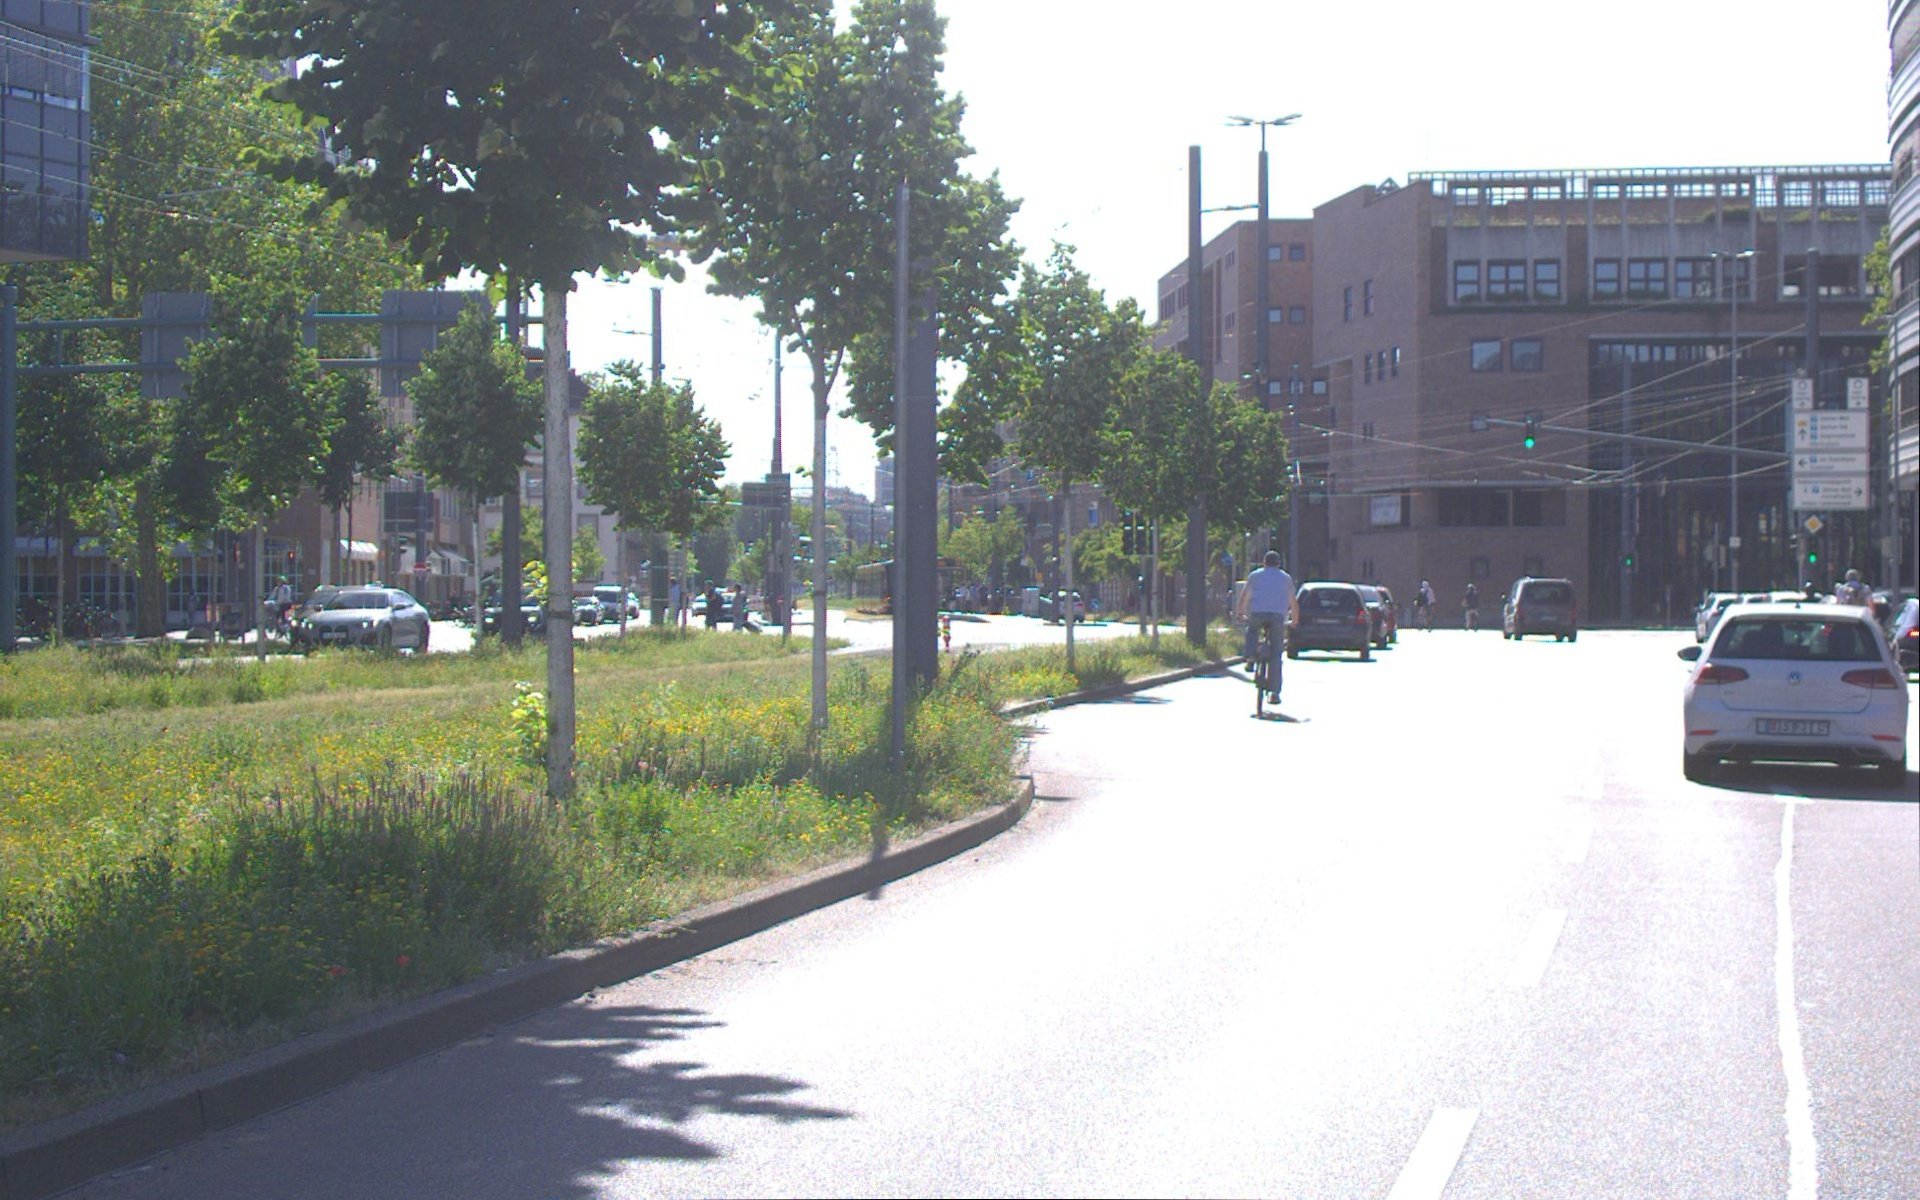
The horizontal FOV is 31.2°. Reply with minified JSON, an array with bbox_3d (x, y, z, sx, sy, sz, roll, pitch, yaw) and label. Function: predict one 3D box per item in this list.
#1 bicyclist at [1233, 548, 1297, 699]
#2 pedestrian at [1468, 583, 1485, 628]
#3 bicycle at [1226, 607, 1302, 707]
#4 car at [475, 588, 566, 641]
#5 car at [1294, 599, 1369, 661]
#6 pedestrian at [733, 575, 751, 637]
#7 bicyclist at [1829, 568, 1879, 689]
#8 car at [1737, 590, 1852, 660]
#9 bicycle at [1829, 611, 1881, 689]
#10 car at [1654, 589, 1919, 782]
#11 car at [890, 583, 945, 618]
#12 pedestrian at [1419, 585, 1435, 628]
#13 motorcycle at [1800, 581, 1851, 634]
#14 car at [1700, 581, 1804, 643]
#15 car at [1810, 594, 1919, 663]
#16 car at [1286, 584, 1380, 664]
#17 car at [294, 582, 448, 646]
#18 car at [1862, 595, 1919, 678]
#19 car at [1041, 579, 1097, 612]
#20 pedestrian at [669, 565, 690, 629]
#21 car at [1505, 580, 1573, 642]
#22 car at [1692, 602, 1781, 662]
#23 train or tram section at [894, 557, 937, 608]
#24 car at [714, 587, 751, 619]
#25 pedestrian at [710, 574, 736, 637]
[{"bbox_3d":[3.468,0.260,39.024,0.618,1.664,1.019,2,0,8],"label":"bicyclist"},{"bbox_3d":[18.844,0.204,125.376,0.478,1.651,0.491,0,0,-9],"label":"pedestrian"},{"bbox_3d":[3.487,0.629,39.261,0.687,1.066,2.696,2,1,8],"label":"bicycle"},{"bbox_3d":[-11.381,0.366,89.145,1.429,1.355,3.294,0,0,10],"label":"car"},{"bbox_3d":[8.857,0.693,82.116,1.727,1.444,4.520,0,0,6],"label":"car"},{"bbox_3d":[-6.503,0.177,102.691,0.385,1.825,0.464,0,0,-24],"label":"pedestrian"},{"bbox_3d":[13.101,0.405,50.399,0.649,1.746,1.045,0,1,12],"label":"bicyclist"},{"bbox_3d":[20.755,0.601,85.613,1.906,1.578,4.138,2,1,2],"label":"car"},{"bbox_3d":[13.073,0.735,50.226,0.649,1.106,1.757,0,-2,12],"label":"bicycle"},{"bbox_3d":[6.855,0.652,28.549,1.773,1.398,4.292,3,1,7],"label":"car"},{"bbox_3d":[-2.162,0.014,171.849,2.261,1.721,3.945,0,0,-8],"label":"car"},{"bbox_3d":[17.023,0.239,125.266,0.478,1.573,0.414,0,0,-9],"label":"pedestrian"},{"bbox_3d":[19.961,0.180,79.310,0.829,1.197,2.389,2,0,7],"label":"motorcycle"},{"bbox_3d":[21.068,0.303,91.625,1.906,1.536,4.138,2,1,2],"label":"car"},{"bbox_3d":[19.067,0.572,72.482,1.722,1.391,4.786,1,0,8],"label":"car"},{"bbox_3d":[7.522,0.460,69.126,1.727,1.559,3.676,0,0,9],"label":"car"},{"bbox_3d":[-12.731,0.274,74.565,1.994,1.329,4.789,0,0,7],"label":"car"},{"bbox_3d":[17.335,0.641,61.377,1.722,1.417,4.636,1,0,7],"label":"car"},{"bbox_3d":[5.631,-0.241,178.158,2.261,1.721,3.945,0,0,-8],"label":"car"},{"bbox_3d":[-8.096,-0.091,99.242,0.460,1.825,0.459,0,0,-30],"label":"pedestrian"},{"bbox_3d":[16.915,0.291,100.570,1.782,1.697,4.137,2,1,8],"label":"car"},{"bbox_3d":[22.332,0.896,99.037,1.906,1.578,4.137,2,1,5],"label":"car"},{"bbox_3d":[-2.740,-1.060,208.288,2.326,2.993,13.161,0,0,-2],"label":"train or tram section"},{"bbox_3d":[-10.839,0.145,163.617,1.609,1.393,3.920,-4,1,-5],"label":"car"},{"bbox_3d":[-6.927,0.159,100.411,0.580,1.825,0.498,0,0,-30],"label":"pedestrian"}]
